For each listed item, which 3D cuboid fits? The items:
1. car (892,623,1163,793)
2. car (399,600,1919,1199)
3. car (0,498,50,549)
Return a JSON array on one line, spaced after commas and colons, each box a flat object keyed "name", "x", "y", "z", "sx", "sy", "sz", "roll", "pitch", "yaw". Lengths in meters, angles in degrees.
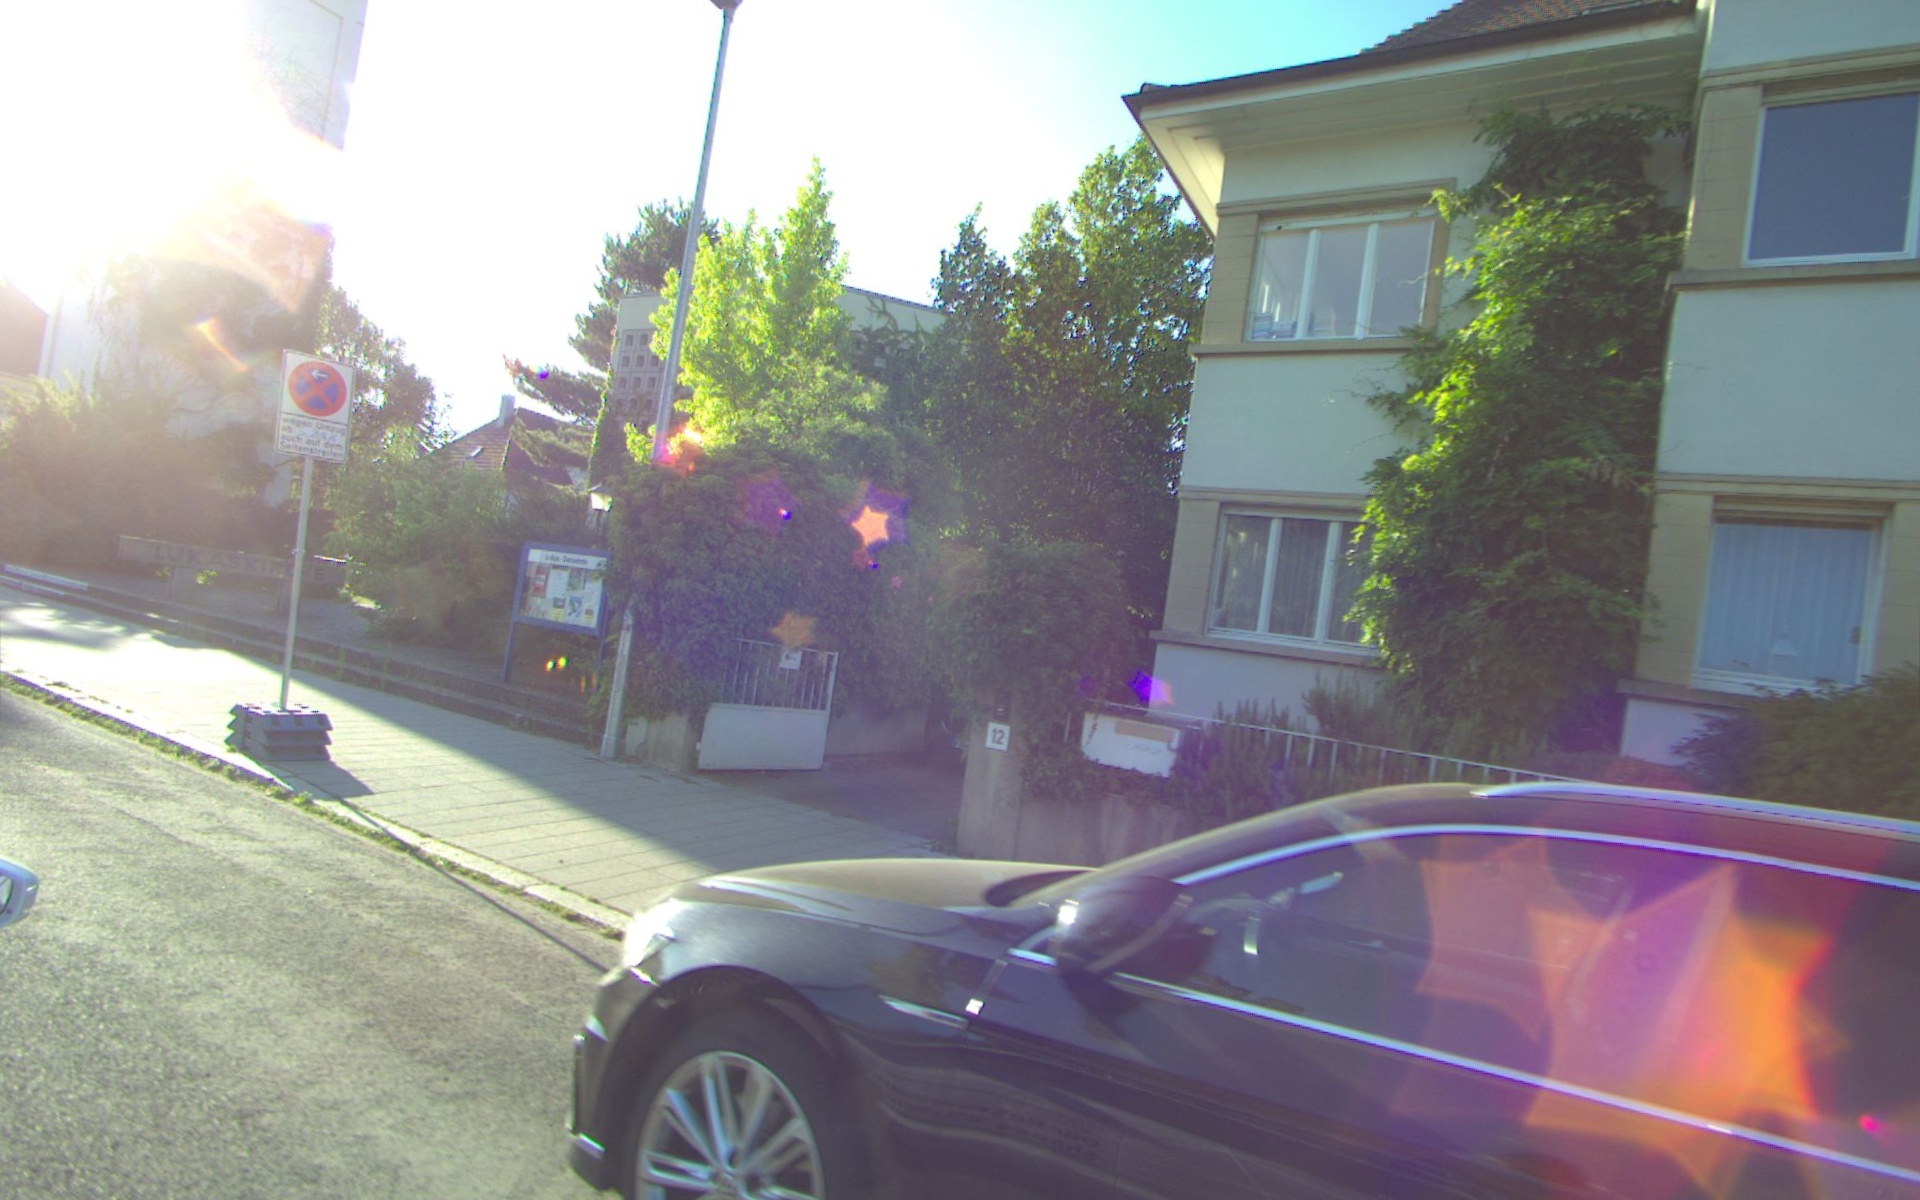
[{"name": "car", "x": 1.066, "y": 1.435, "z": 13.340, "sx": 1.842, "sy": 1.665, "sz": 3.998, "roll": 8, "pitch": -3, "yaw": 30}, {"name": "car", "x": 1.255, "y": 1.206, "z": 2.205, "sx": 4.804, "sy": 1.612, "sz": 2.003, "roll": 6, "pitch": -7, "yaw": 30}, {"name": "car", "x": -33.514, "y": -2.850, "z": 33.064, "sx": 1.970, "sy": 1.501, "sz": 4.861, "roll": 3, "pitch": -5, "yaw": 30}]
